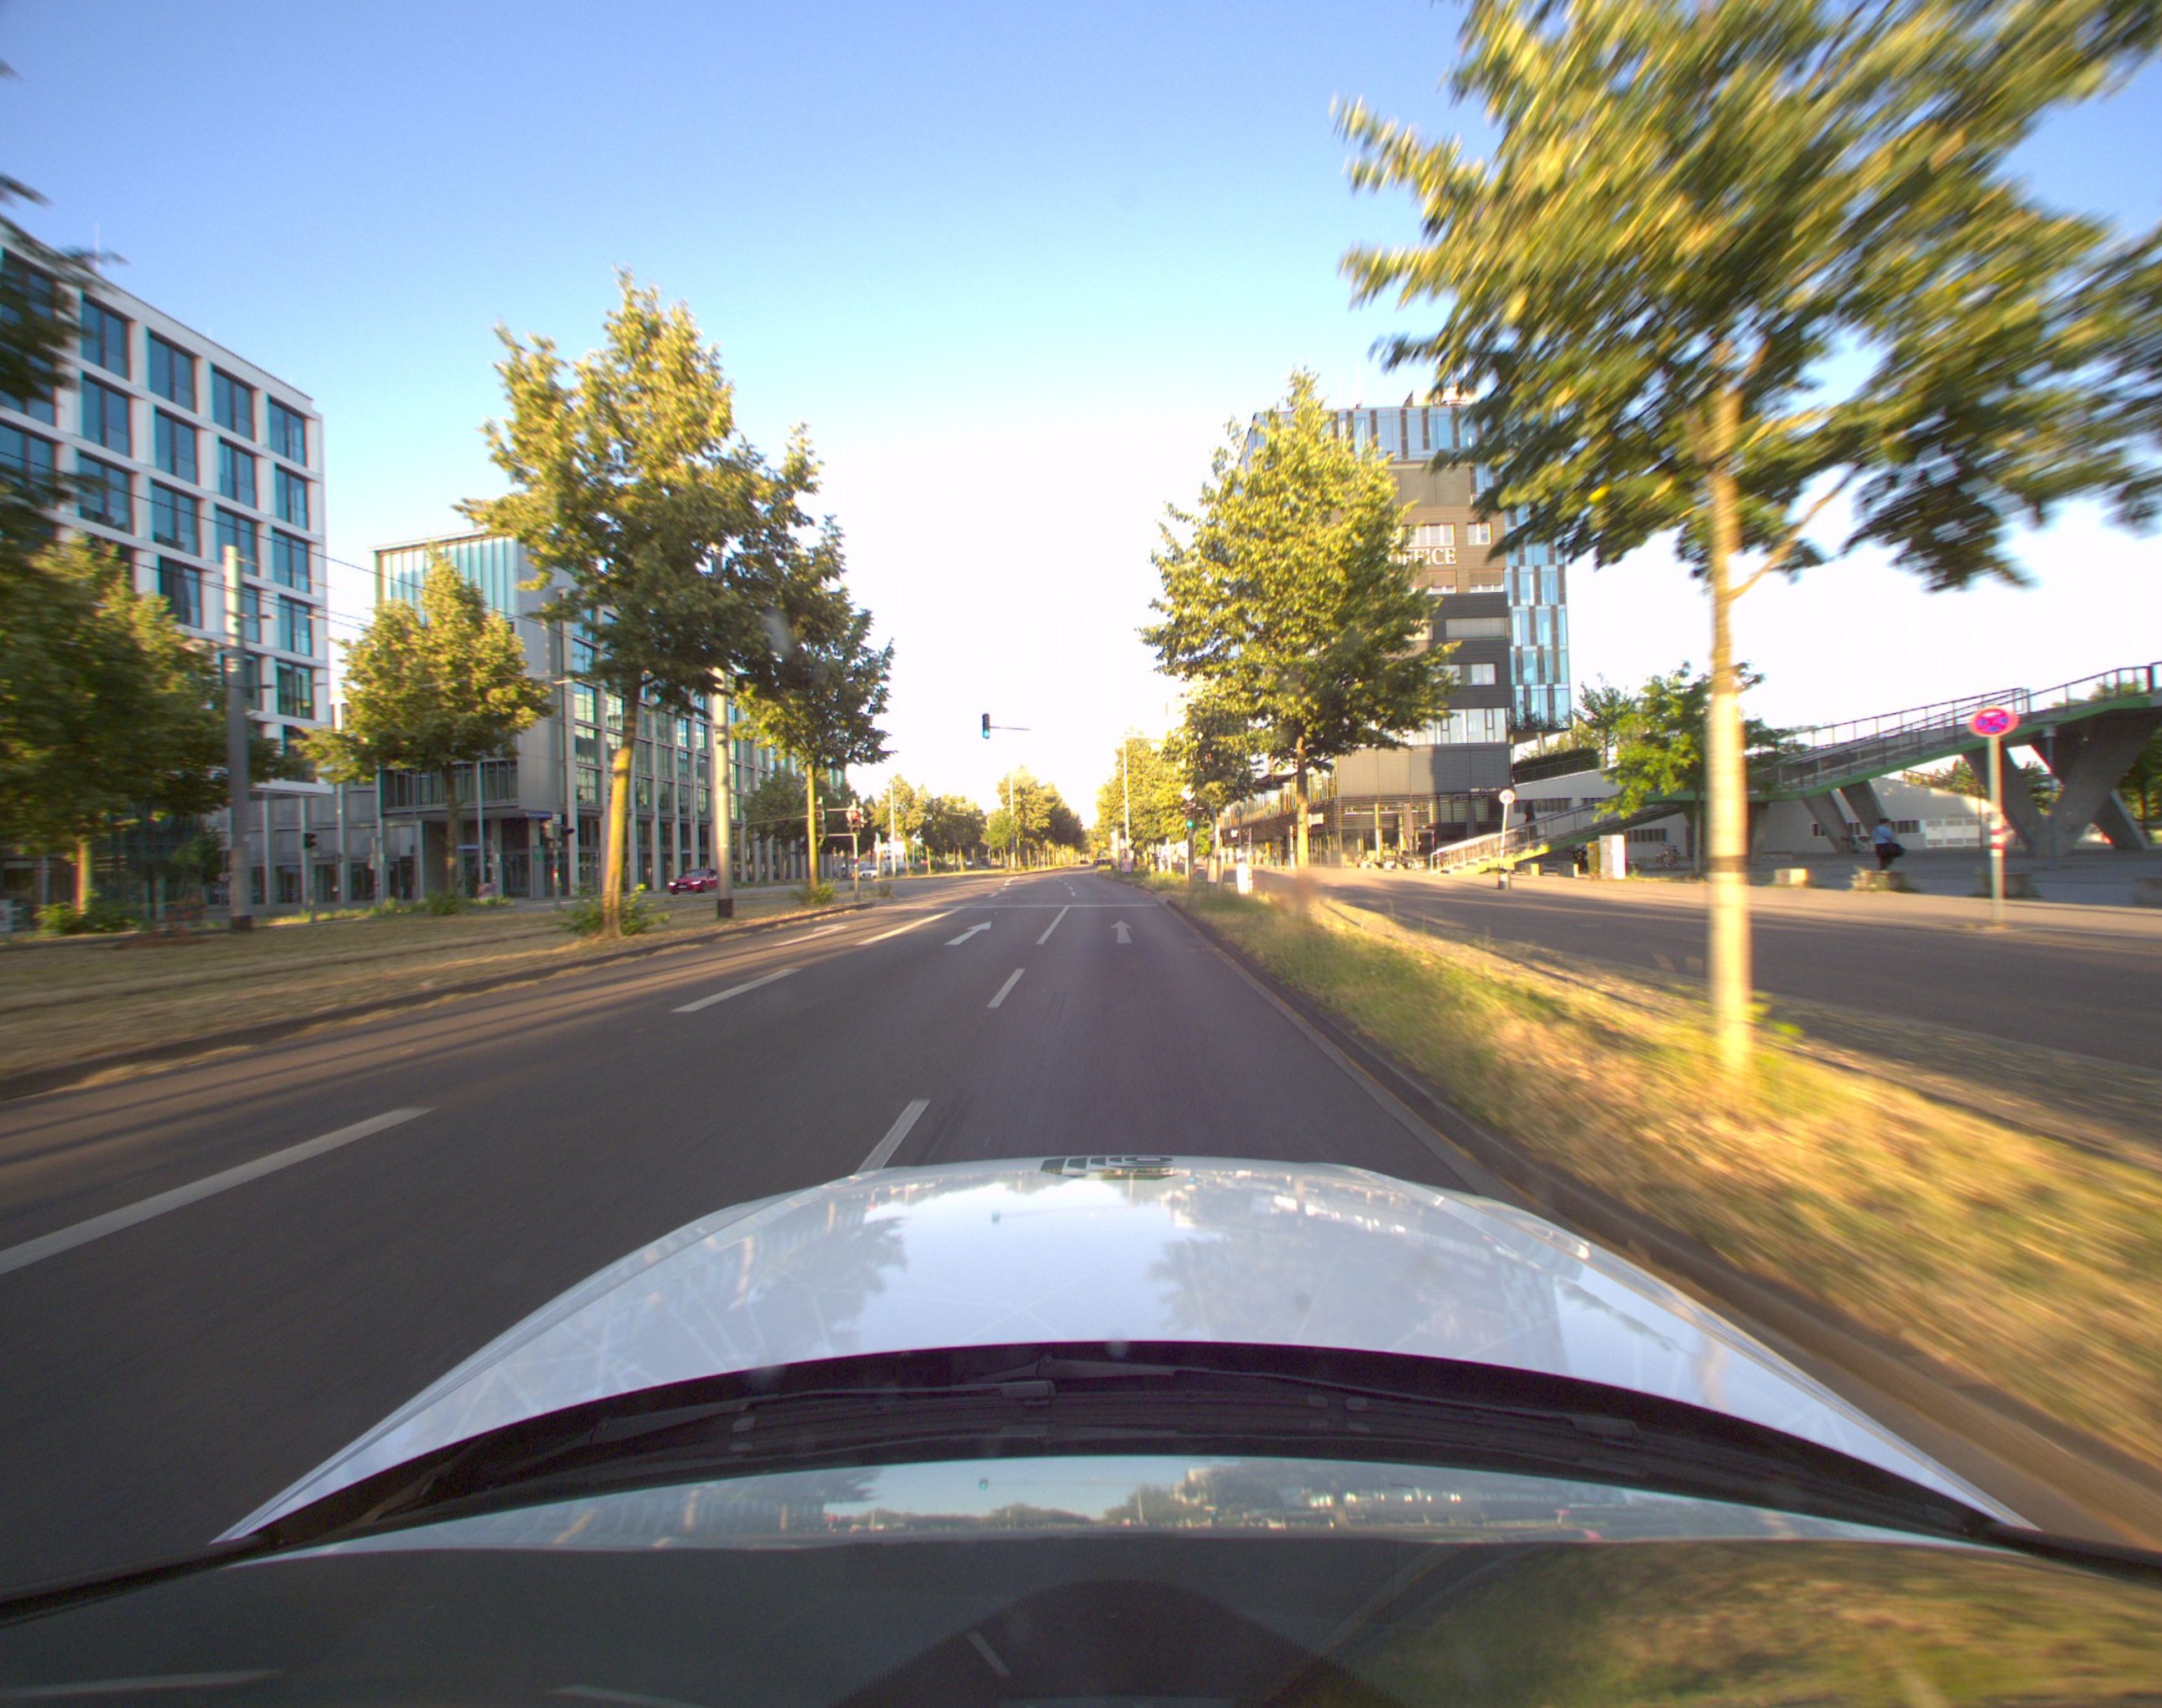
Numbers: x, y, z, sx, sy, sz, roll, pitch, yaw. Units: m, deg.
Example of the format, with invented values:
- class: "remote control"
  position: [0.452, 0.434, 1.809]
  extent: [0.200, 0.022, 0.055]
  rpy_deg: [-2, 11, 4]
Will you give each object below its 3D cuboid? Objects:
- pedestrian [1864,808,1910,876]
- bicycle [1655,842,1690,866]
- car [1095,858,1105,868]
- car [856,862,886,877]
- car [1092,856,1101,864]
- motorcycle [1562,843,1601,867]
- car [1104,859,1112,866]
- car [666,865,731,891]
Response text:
- class: "pedestrian"
  position: [24.403, -0.341, 24.658]
  extent: [0.919, 2.014, 0.897]
  rpy_deg: [-2, -1, 45]
- class: "bicycle"
  position: [26.726, 0.004, 36.802]
  extent: [0.564, 1.052, 1.774]
  rpy_deg: [-2, 0, 12]
- class: "car"
  position: [4.061, 1.875, 171.776]
  extent: [1.986, 2.013, 4.001]
  rpy_deg: [-2, 0, 1]
- class: "car"
  position: [-19.774, 1.463, 76.920]
  extent: [1.781, 1.332, 3.671]
  rpy_deg: [-2, 0, 0]
- class: "car"
  position: [4.012, 1.472, 210.628]
  extent: [2.080, 2.013, 4.001]
  rpy_deg: [-2, 0, 1]
- class: "motorcycle"
  position: [23.617, 0.055, 38.459]
  extent: [0.646, 1.094, 2.337]
  rpy_deg: [-2, 0, 7]
- class: "car"
  position: [6.490, 1.990, 197.657]
  extent: [1.865, 1.574, 3.680]
  rpy_deg: [-2, 0, 3]
- class: "car"
  position: [-22.496, 1.402, 48.139]
  extent: [1.651, 1.332, 4.527]
  rpy_deg: [-2, 0, 0]
